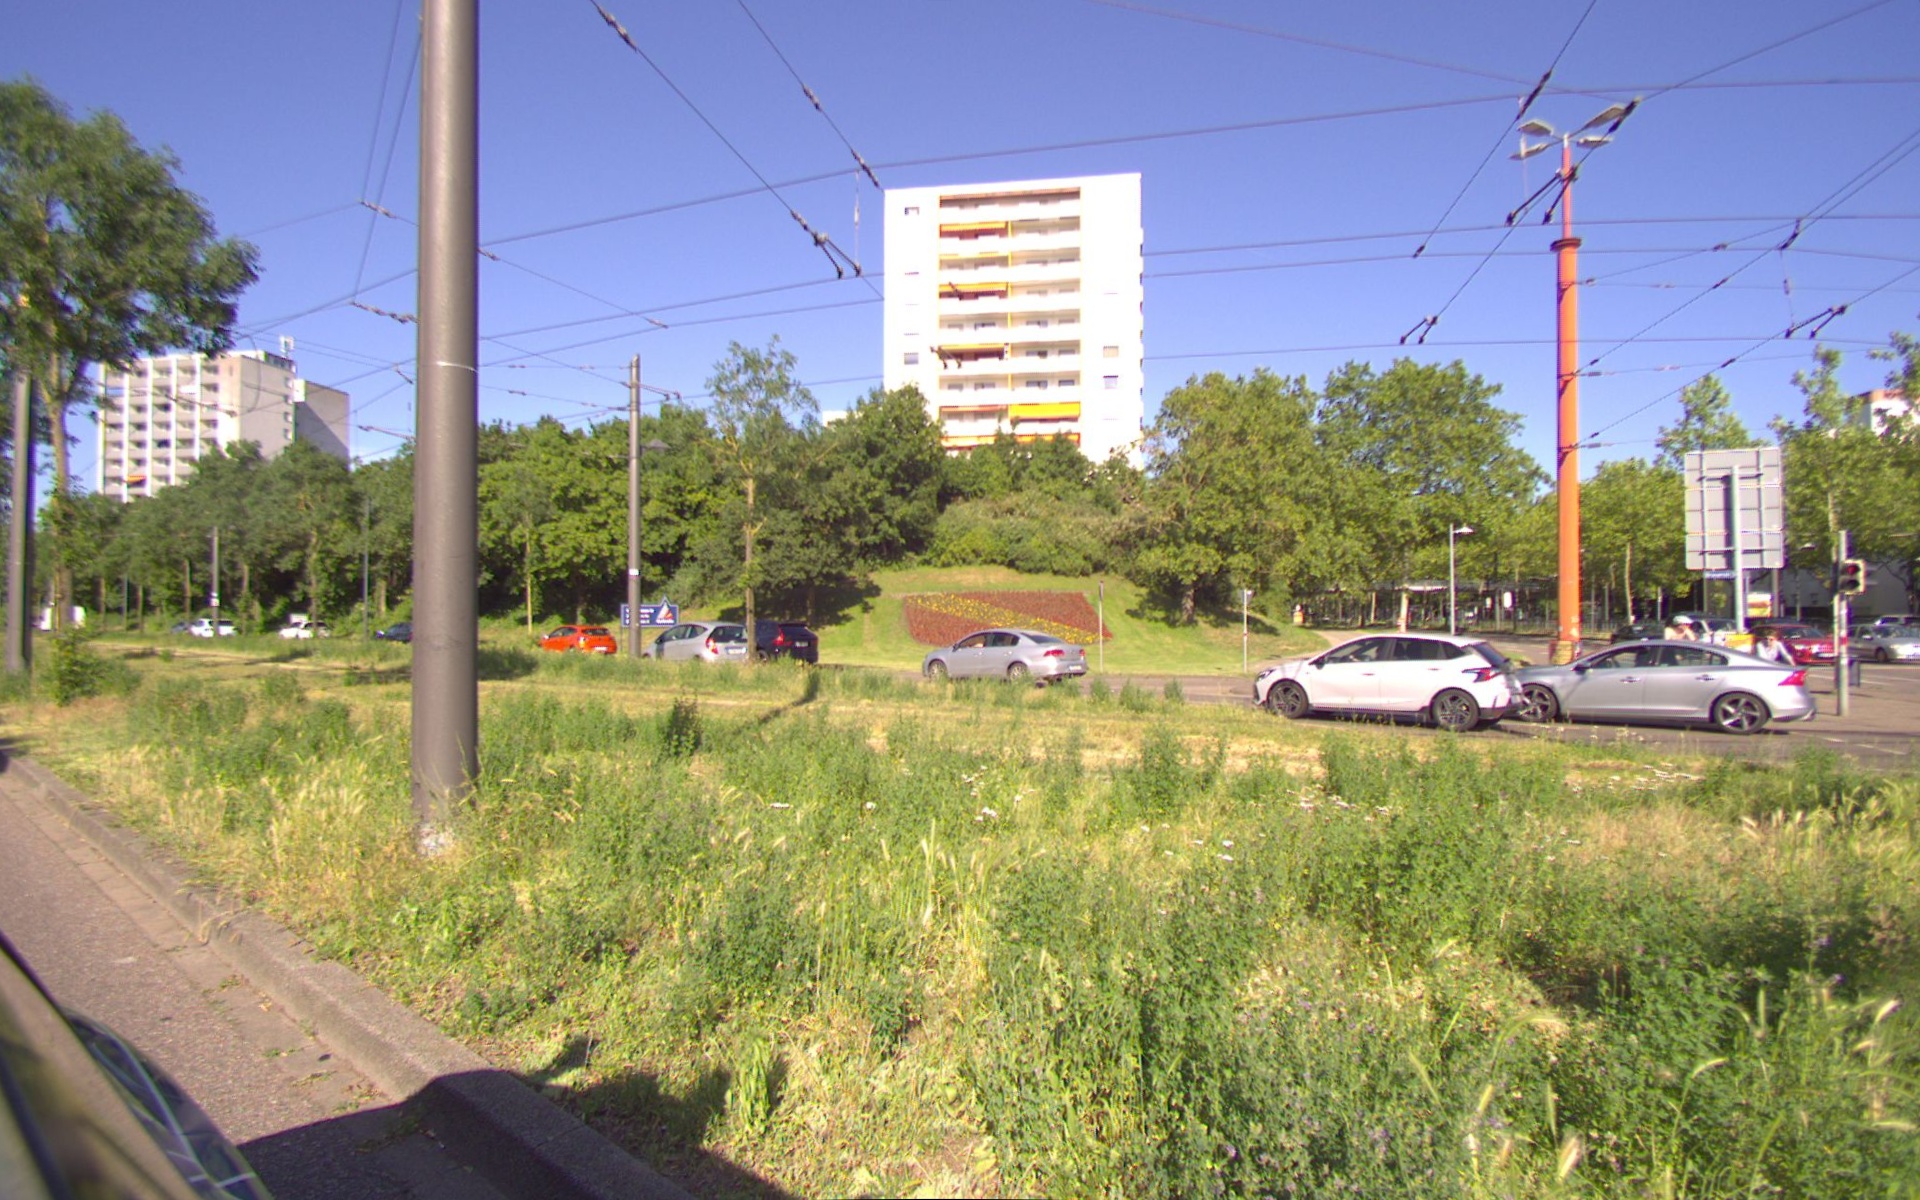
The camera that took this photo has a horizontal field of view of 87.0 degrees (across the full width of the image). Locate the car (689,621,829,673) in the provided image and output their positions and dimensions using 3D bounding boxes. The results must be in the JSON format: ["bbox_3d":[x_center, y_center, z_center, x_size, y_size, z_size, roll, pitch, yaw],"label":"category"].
[{"bbox_3d":[-6.459,1.447,32.259,4.629,1.492,1.973,-1,0,41],"label":"car"}]

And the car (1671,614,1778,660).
[{"bbox_3d":[31.583,1.488,41.942,1.892,1.763,3.987,-1,0,10],"label":"car"}]

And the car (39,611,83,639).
[{"bbox_3d":[-78.069,2.148,87.867,6.877,2.387,2.018,-1,0,41],"label":"car"}]

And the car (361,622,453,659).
[{"bbox_3d":[-23.779,1.704,43.439,4.990,1.420,1.972,-1,0,43],"label":"car"}]

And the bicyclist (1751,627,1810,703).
[{"bbox_3d":[14.846,1.162,18.336,0.543,1.333,0.698,-1,0,11],"label":"bicyclist"}]

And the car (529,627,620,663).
[{"bbox_3d":[-15.241,1.736,39.928,4.176,1.307,1.640,-1,0,42],"label":"car"}]

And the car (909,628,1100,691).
[{"bbox_3d":[1.075,1.451,25.925,4.691,1.443,1.973,-1,-2,41],"label":"car"}]

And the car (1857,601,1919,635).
[{"bbox_3d":[58.108,1.107,62.668,1.981,2.029,4.387,-1,-1,14],"label":"car"}]

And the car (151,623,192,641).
[{"bbox_3d":[-58.801,2.358,75.446,4.000,1.302,1.778,-1,0,43],"label":"car"}]

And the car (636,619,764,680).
[{"bbox_3d":[-7.452,1.353,28.876,3.756,1.620,1.744,-1,-2,41],"label":"car"}]

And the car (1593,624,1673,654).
[{"bbox_3d":[32.364,1.849,48.798,1.717,1.332,3.987,-1,0,10],"label":"car"}]

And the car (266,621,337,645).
[{"bbox_3d":[-39.722,1.975,61.061,4.529,1.408,1.885,-1,0,32],"label":"car"}]

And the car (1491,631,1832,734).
[{"bbox_3d":[11.448,1.243,16.695,4.400,1.384,1.972,-1,0,43],"label":"car"}]

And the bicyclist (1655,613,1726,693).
[{"bbox_3d":[13.608,0.977,18.874,0.740,1.441,0.758,-1,0,-5],"label":"bicyclist"}]

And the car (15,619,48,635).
[{"bbox_3d":[-95.992,2.741,104.618,5.270,1.596,1.973,-1,0,41],"label":"car"}]

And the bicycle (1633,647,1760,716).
[{"bbox_3d":[13.613,1.473,18.809,0.467,1.089,2.363,-1,0,-4],"label":"bicycle"}]

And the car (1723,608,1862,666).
[{"bbox_3d":[29.695,1.285,36.286,1.978,1.915,4.261,-1,0,10],"label":"car"}]

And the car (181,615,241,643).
[{"bbox_3d":[-45.943,1.734,62.042,4.652,1.634,1.876,-1,0,40],"label":"car"}]

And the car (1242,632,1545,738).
[{"bbox_3d":[6.821,1.308,16.232,4.182,1.484,1.572,-3,-4,43],"label":"car"}]

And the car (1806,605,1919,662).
[{"bbox_3d":[32.802,1.140,36.213,1.978,1.915,4.261,-1,0,10],"label":"car"}]

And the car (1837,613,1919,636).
[{"bbox_3d":[65.754,1.739,72.526,1.864,1.608,4.010,0,0,-35],"label":"car"}]
